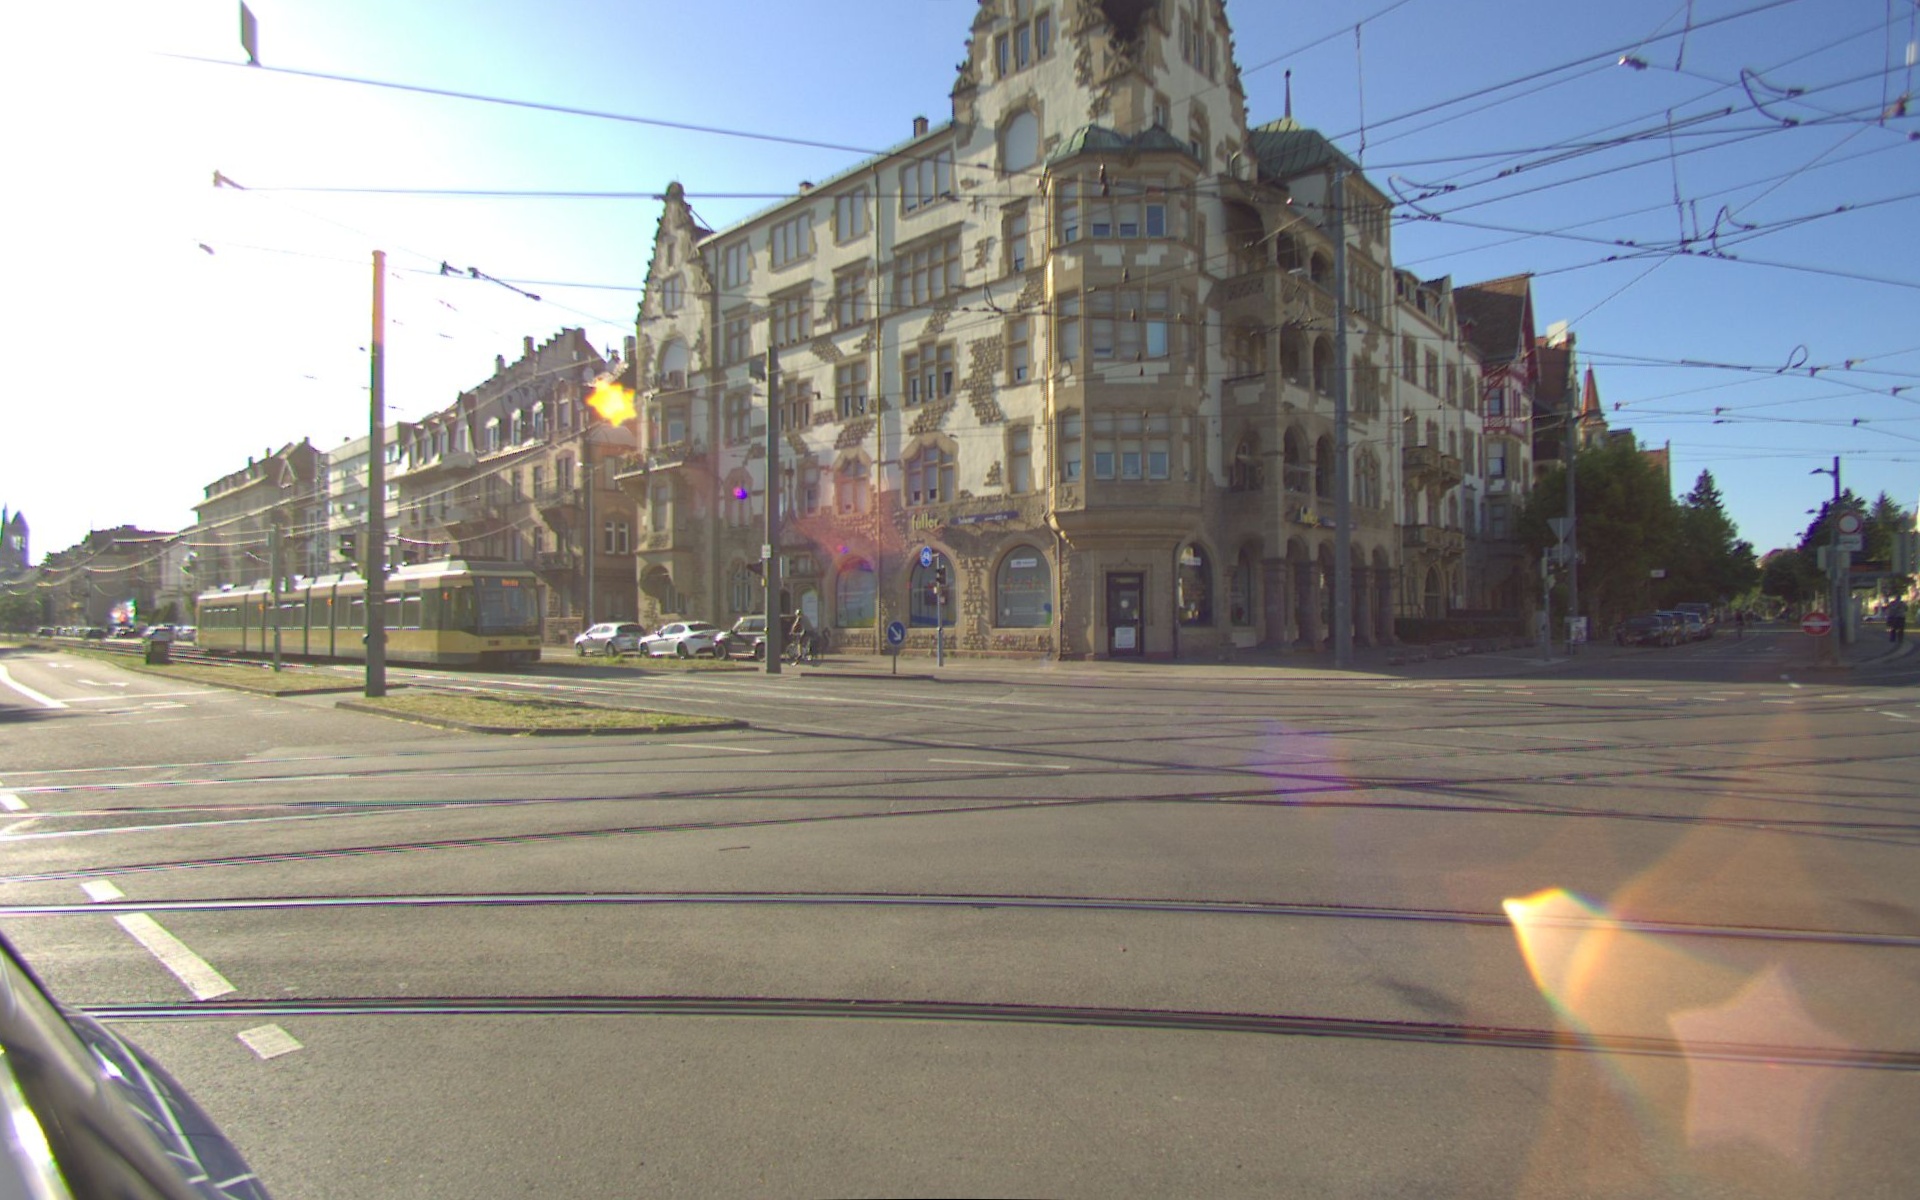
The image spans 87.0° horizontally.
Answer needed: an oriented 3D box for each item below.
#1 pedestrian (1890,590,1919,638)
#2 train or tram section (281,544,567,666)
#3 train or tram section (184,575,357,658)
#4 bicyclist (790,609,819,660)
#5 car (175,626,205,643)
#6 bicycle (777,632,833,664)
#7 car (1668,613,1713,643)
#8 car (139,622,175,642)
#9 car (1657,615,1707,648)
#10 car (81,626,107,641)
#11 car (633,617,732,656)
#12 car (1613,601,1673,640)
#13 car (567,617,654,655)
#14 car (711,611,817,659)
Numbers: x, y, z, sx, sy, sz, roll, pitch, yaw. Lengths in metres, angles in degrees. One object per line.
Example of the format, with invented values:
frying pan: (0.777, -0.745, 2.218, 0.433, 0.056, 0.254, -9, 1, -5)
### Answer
pedestrian: (33.880, 0.506, 36.221, 0.576, 1.695, 0.615, -1, -1, 10)
train or tram section: (-19.879, 0.402, 36.039, 19.473, 3.424, 2.744, -2, -1, 43)
train or tram section: (-34.107, 0.824, 49.387, 19.473, 3.424, 2.744, -1, 0, 43)
bicyclist: (-5.032, 1.120, 32.780, 0.630, 1.631, 0.675, -2, -2, 41)
car: (-81.416, 3.656, 106.959, 3.998, 1.682, 1.757, -2, -2, 41)
bicycle: (-5.031, 1.537, 32.766, 2.067, 1.010, 0.599, -2, -2, 41)
car: (39.765, 1.511, 55.048, 1.726, 1.586, 3.947, -2, -1, 40)
car: (-70.113, 2.787, 88.323, 3.998, 1.682, 1.757, -2, -2, 41)
car: (36.057, 1.554, 50.485, 1.726, 1.586, 3.947, -2, -1, 40)
car: (-101.019, 3.904, 118.050, 3.998, 1.682, 1.757, -2, -2, 41)
car: (-11.258, 1.448, 40.932, 4.430, 1.487, 1.705, -2, -1, 40)
car: (29.213, 0.884, 43.240, 1.726, 1.586, 3.947, -2, -1, 40)
car: (-15.370, 1.549, 44.423, 3.994, 1.536, 1.720, -2, 0, 38)
car: (-7.257, 1.263, 37.296, 3.998, 1.682, 1.757, -2, -2, 41)
